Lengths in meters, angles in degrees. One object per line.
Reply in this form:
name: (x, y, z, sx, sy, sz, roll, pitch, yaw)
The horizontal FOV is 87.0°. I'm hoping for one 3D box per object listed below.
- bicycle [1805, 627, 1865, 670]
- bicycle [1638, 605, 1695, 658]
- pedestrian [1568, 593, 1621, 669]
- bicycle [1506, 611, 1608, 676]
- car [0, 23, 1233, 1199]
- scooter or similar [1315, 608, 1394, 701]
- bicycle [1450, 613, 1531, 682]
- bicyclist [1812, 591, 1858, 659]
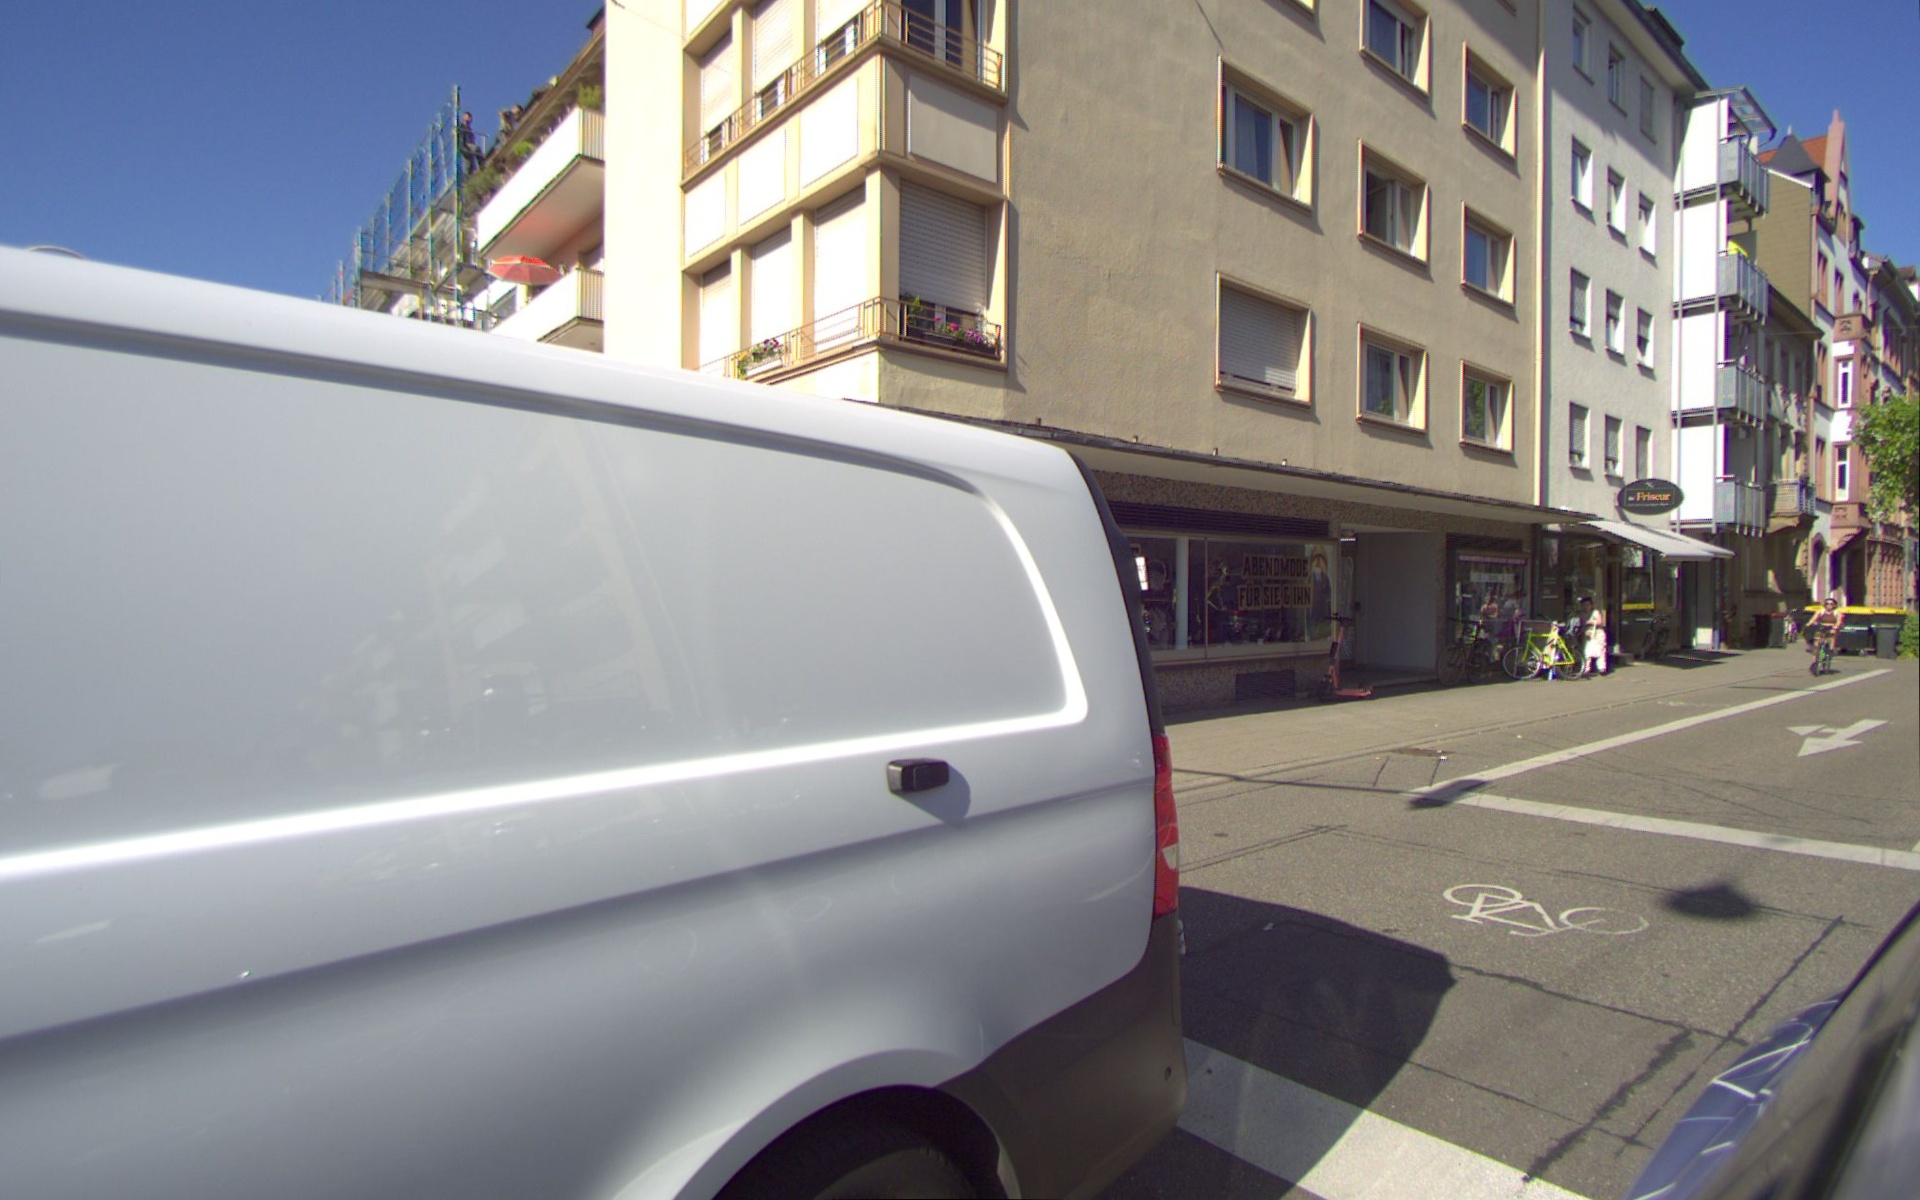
bicycle: (18.417, 1.011, 21.285, 1.677, 0.816, 0.583, 0, 0, -36)
bicycle: (16.503, 0.714, 23.627, 1.742, 1.157, 0.598, 0, 3, -40)
pedestrian: (12.559, 0.599, 20.026, 0.615, 1.460, 0.774, 0, 0, -45)
bicycle: (10.970, 0.791, 18.635, 1.475, 1.120, 0.719, 1, 0, 19)
car: (-1.866, 0.434, 1.206, 4.749, 1.833, 1.971, -1, 1, -42)
scooter or similar: (5.550, 0.736, 14.217, 1.207, 1.240, 0.527, 0, 0, -40)
bicycle: (9.009, 0.782, 17.163, 1.766, 1.098, 0.408, 0, 3, -35)
bicyclist: (18.395, 0.516, 21.273, 0.652, 1.394, 0.583, 0, 0, -35)
